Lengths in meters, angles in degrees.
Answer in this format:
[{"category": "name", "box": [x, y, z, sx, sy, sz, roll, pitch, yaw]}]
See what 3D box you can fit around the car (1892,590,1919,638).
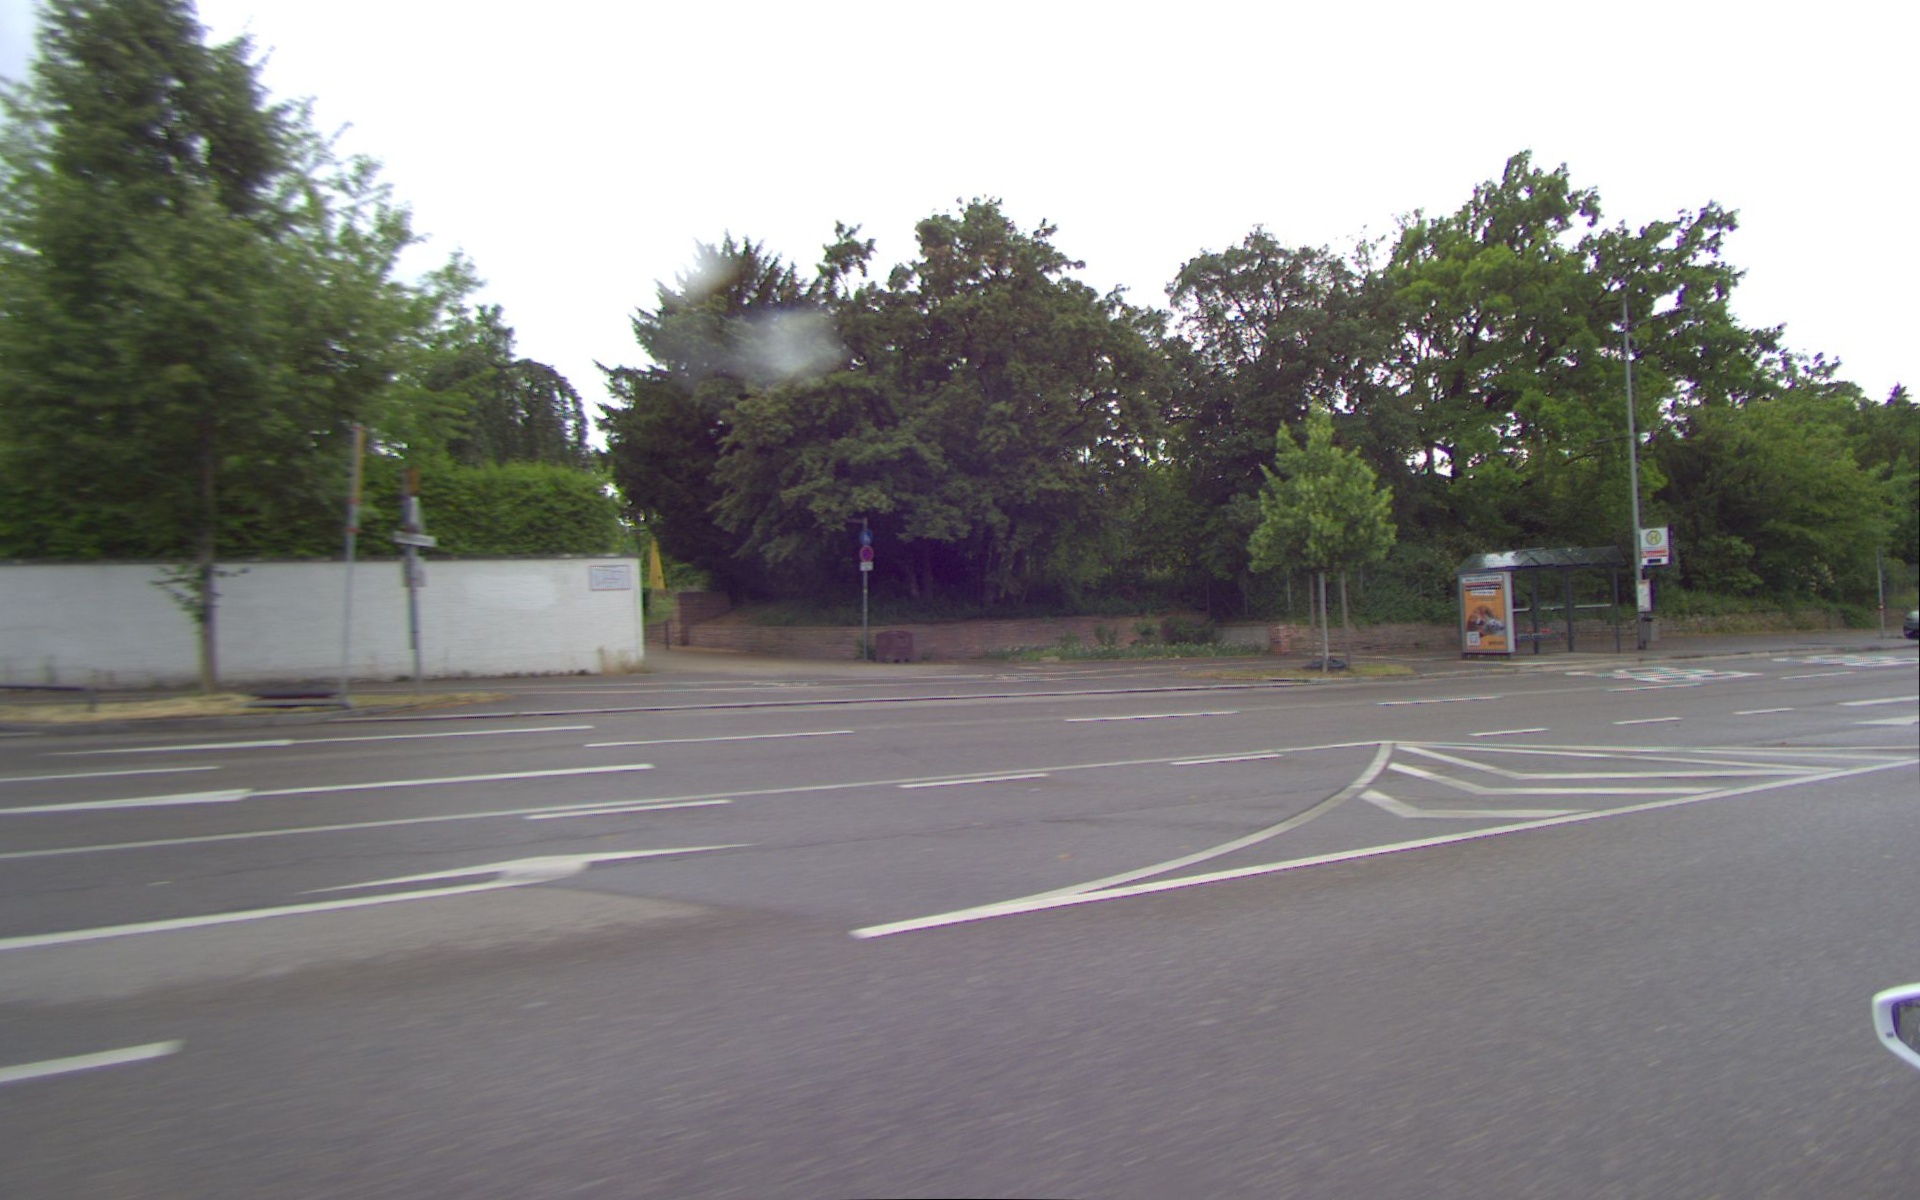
[{"category": "car", "box": [34.595, 0.443, 34.637, 4.859, 1.610, 1.836, -1, 0, -24]}]
